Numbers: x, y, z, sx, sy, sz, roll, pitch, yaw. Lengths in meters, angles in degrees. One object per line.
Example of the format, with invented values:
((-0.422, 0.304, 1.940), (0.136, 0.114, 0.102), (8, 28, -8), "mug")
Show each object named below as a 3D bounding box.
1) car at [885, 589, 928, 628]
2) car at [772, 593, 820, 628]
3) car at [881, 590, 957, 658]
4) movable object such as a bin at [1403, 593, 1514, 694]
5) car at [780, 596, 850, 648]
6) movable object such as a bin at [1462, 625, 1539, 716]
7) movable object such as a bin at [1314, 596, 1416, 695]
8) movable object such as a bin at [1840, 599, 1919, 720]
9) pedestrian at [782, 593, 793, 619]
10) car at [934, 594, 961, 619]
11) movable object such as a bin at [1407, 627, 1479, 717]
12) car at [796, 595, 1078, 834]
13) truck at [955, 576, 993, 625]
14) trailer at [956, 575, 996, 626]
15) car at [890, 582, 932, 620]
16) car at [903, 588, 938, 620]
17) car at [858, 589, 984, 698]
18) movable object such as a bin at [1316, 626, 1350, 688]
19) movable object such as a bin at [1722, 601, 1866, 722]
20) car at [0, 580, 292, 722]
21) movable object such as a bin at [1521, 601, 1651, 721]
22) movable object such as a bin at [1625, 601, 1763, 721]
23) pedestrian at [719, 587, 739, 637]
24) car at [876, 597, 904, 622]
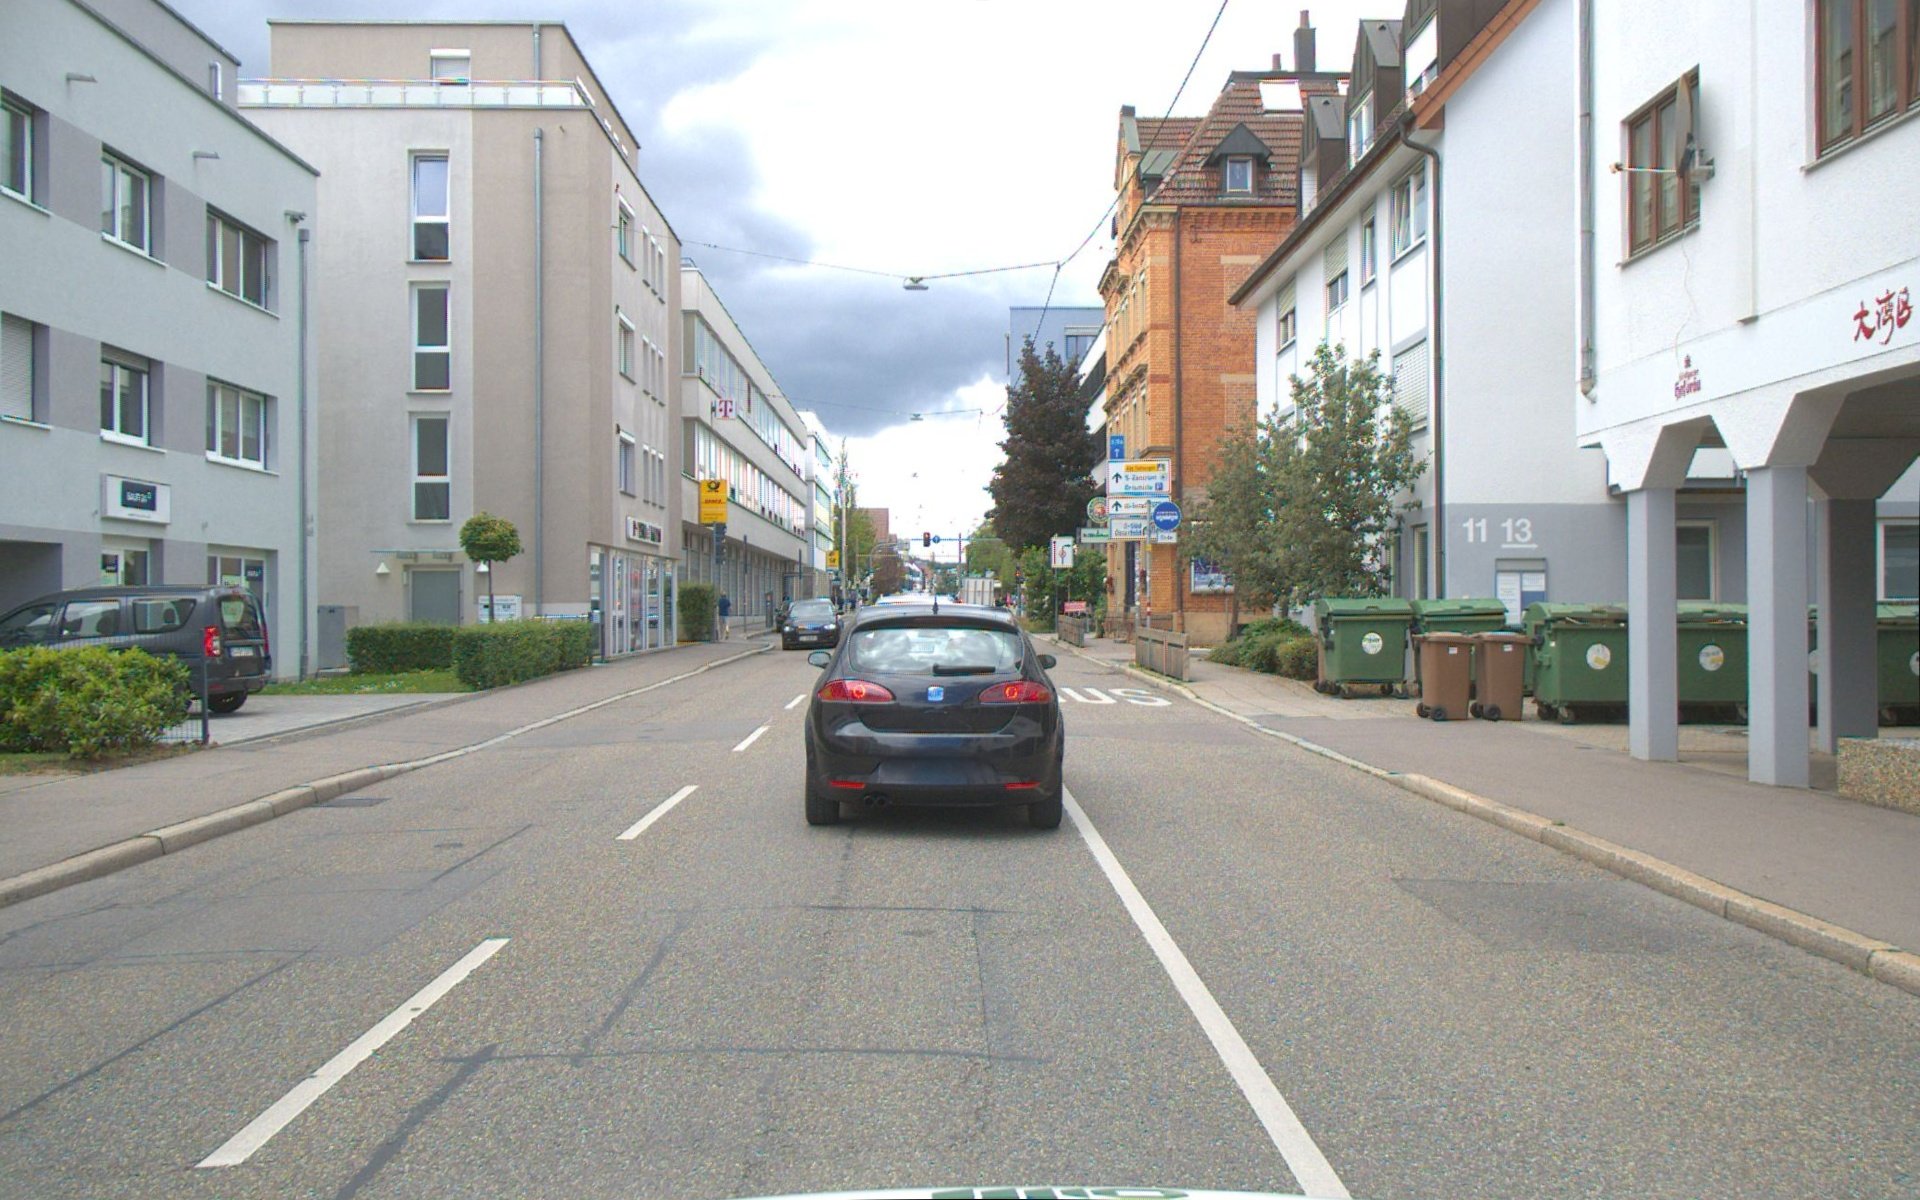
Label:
((-2.315, 0.370, 71.652), (1.767, 1.629, 3.736), (1, 0, -2), "car")
((-7.566, 0.485, 76.536), (1.874, 1.543, 4.173), (-1, 0, -2), "car")
((-1.012, 0.564, 40.601), (1.767, 1.580, 3.736), (0, 0, -2), "car")
((7.359, 0.623, 24.486), (1.241, 1.460, 1.307), (0, 0, -1), "movable object such as a bin")
((-4.458, 0.651, 51.380), (1.840, 1.476, 4.213), (-3, 0, -1), "car")
((6.775, 0.868, 20.772), (0.683, 1.098, 0.972), (0, 0, 3), "movable object such as a bin")
((6.029, 0.663, 24.707), (1.241, 1.442, 1.162), (0, 0, -1), "movable object such as a bin")
((11.782, 0.711, 20.435), (1.184, 1.442, 1.260), (0, 0, 3), "movable object such as a bin")
((-10.796, 0.363, 103.536), (0.642, 1.651, 0.681), (0, 0, 0), "pedestrian")
((-0.895, 0.445, 113.805), (1.767, 1.629, 3.736), (1, 0, -2), "car")
((6.060, 0.890, 20.785), (0.669, 1.086, 0.972), (0, 0, 3), "movable object such as a bin")
((-0.170, 0.698, 12.057), (1.730, 1.458, 3.827), (0, 0, -1), "car")
((0.768, 0.012, 91.687), (1.953, 2.653, 3.259), (0, 0, -2), "truck")
((0.847, 0.025, 88.912), (1.953, 2.653, 5.347), (0, 0, -2), "trailer")
((-2.104, 0.044, 71.381), (1.767, 1.580, 3.736), (0, 0, -2), "car")
((-2.075, 0.198, 87.241), (1.767, 1.629, 3.736), (1, 0, -2), "car")
((-0.599, 0.608, 25.068), (1.767, 1.519, 3.736), (0, 0, -2), "car")
((5.756, 0.871, 25.515), (0.421, 0.937, 0.465), (0, 0, -1), "movable object such as a bin")
((10.279, 0.733, 20.442), (1.184, 1.442, 1.260), (0, 0, 3), "movable object such as a bin")
((-10.828, 0.628, 20.873), (4.076, 1.697, 1.725), (0, -1, 2), "car")
((7.711, 0.731, 20.440), (1.184, 1.442, 1.260), (0, 0, 3), "movable object such as a bin")
((9.047, 0.730, 20.448), (1.184, 1.442, 1.260), (0, 0, 3), "movable object such as a bin")
((-8.382, 0.441, 59.954), (0.630, 1.800, 0.809), (0, 0, -3), "pedestrian")
((-5.325, 0.705, 126.277), (1.953, 1.769, 4.552), (-3, 0, -2), "car")
